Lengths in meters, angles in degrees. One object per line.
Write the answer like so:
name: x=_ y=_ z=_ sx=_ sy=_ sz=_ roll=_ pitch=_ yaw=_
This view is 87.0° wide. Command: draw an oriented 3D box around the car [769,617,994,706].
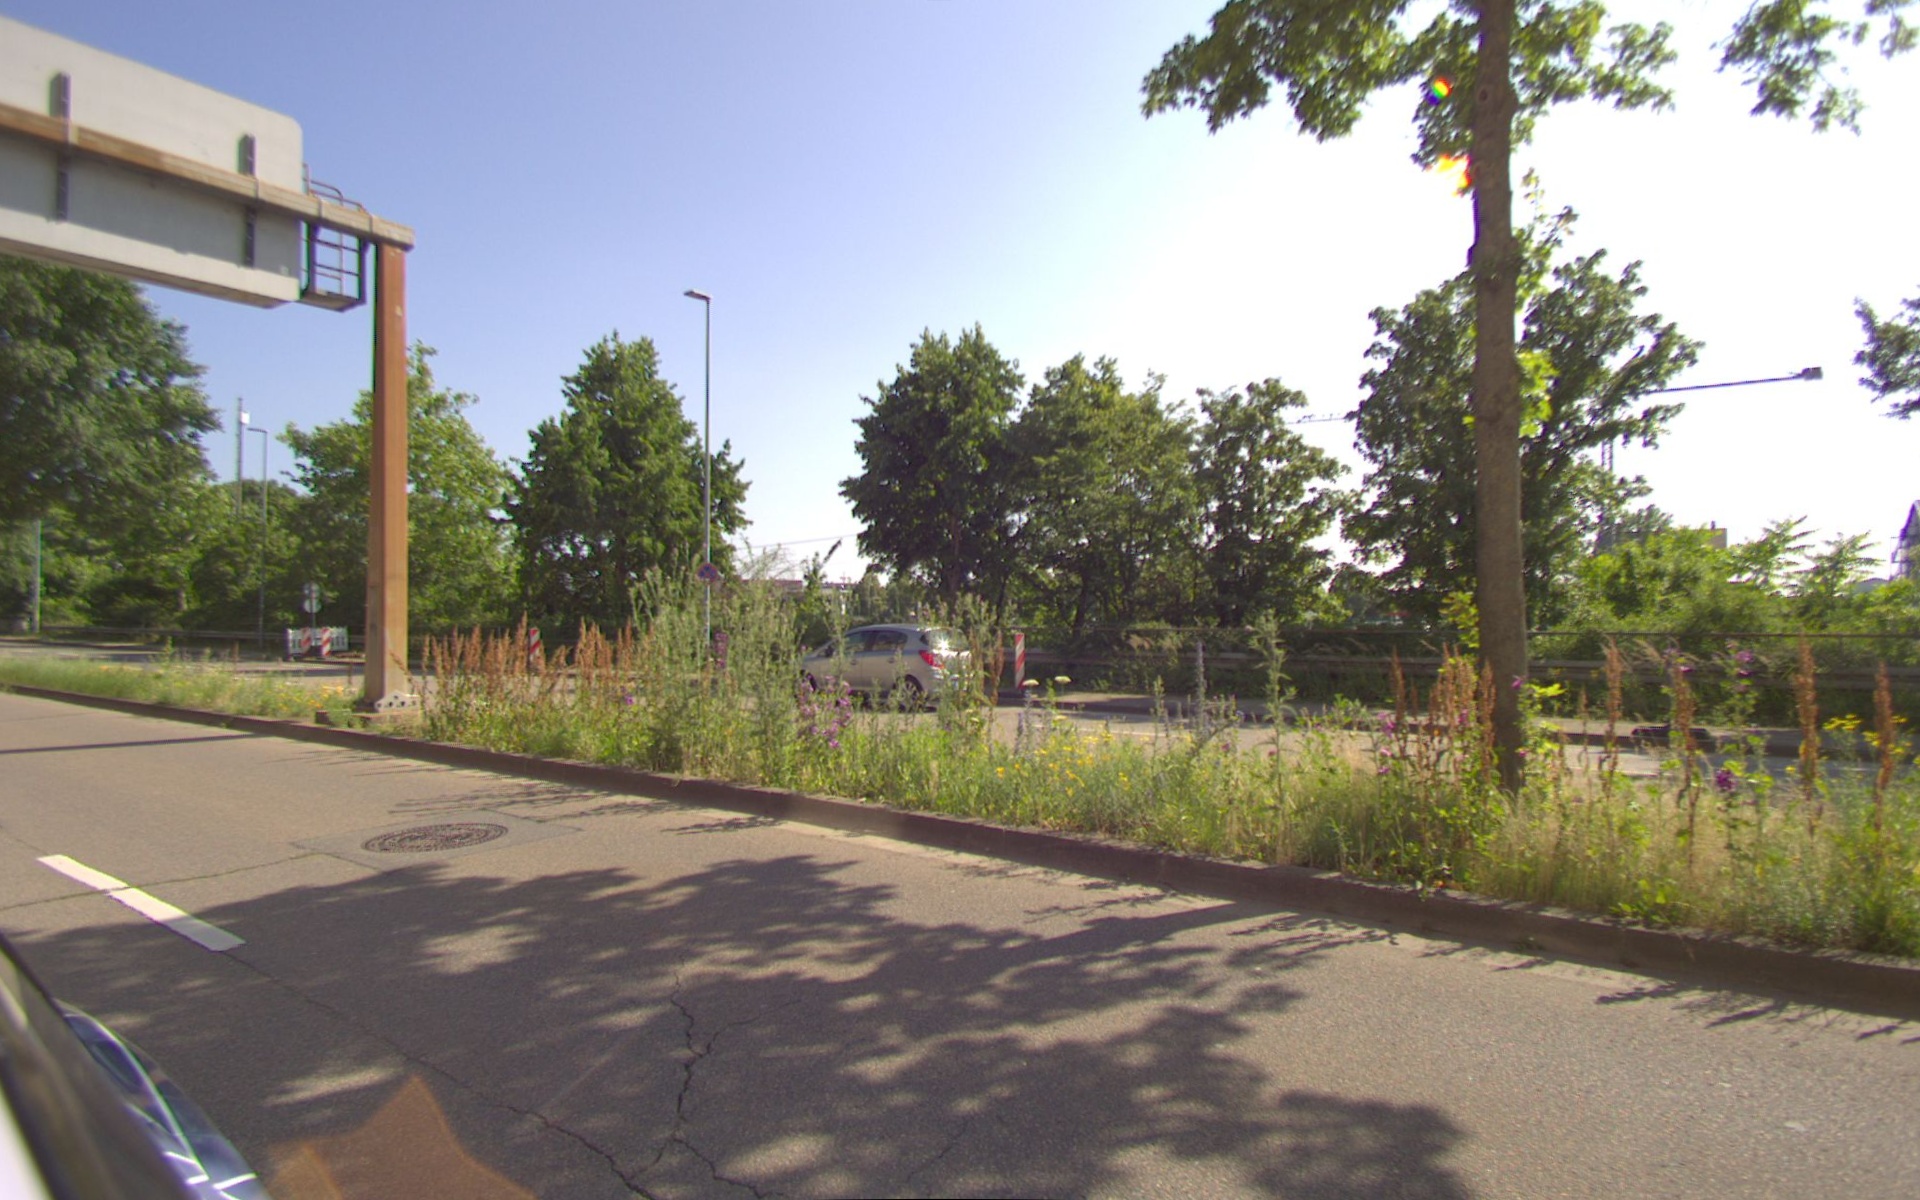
car: x=-1.475 y=1.026 z=18.210 sx=3.963 sy=1.427 sz=1.630 roll=-1 pitch=-1 yaw=37
